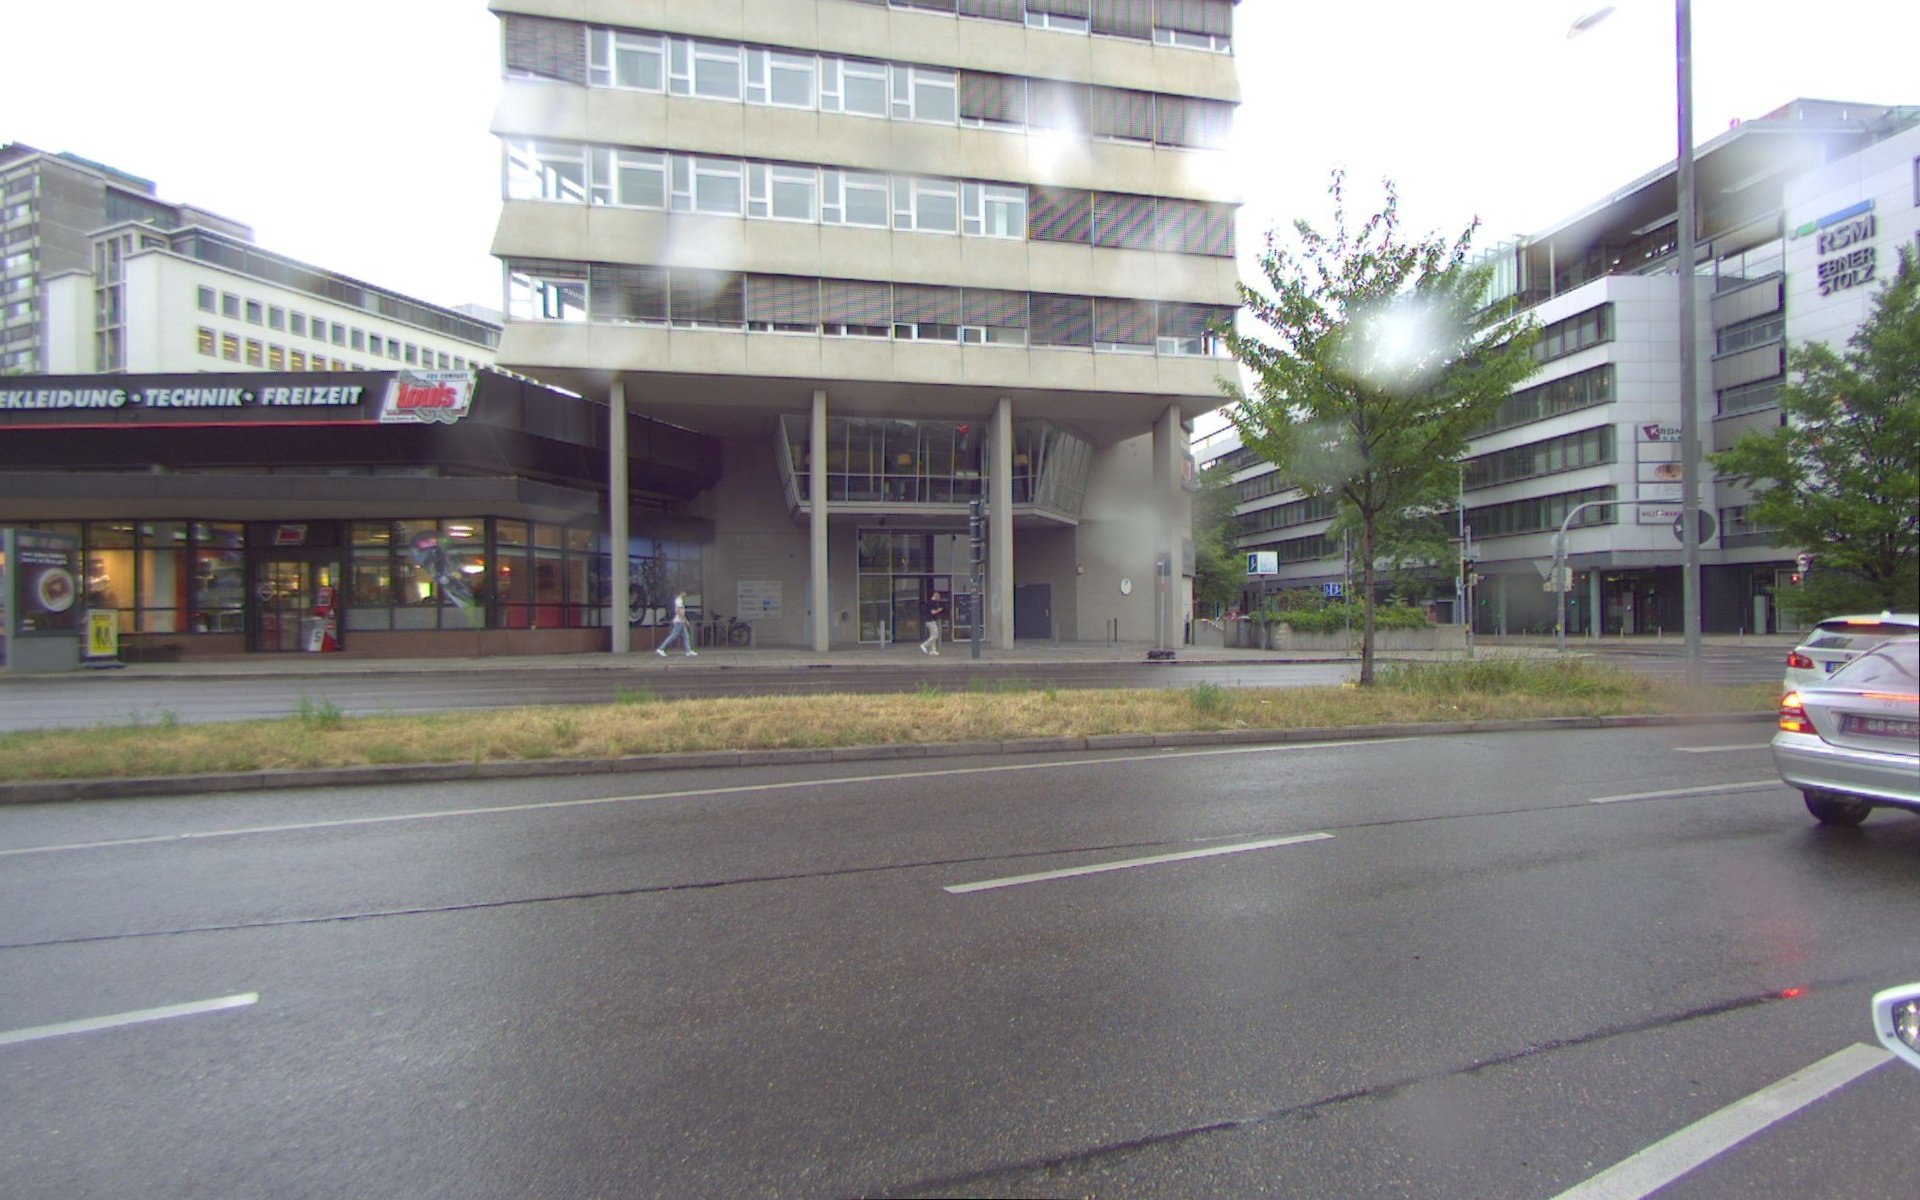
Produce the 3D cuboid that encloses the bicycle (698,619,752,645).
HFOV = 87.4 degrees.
[{"bbox_3d":[-7.923,1.086,33.874,1.743,0.823,0.454,1,0,-12],"label":"bicycle"}]

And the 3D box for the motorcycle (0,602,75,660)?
[{"bbox_3d":[-23.514,0.740,24.721,0.788,1.392,2.893,1,0,3],"label":"motorcycle"}]

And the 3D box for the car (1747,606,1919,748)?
[{"bbox_3d":[12.540,0.909,12.970,3.937,1.617,1.883,1,0,-18],"label":"car"}]

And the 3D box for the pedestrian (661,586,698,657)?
[{"bbox_3d":[-7.527,0.573,27.004,0.909,1.857,0.817,0,0,-14],"label":"pedestrian"}]

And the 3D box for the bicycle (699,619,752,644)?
[{"bbox_3d":[-8.037,1.087,34.454,1.743,0.823,0.454,1,0,-12],"label":"bicycle"}]

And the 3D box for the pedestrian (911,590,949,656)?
[{"bbox_3d":[-0.859,0.659,28.610,0.909,1.857,0.727,1,-1,-14],"label":"pedestrian"}]

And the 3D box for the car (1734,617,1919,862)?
[{"bbox_3d":[7.753,0.891,7.221,4.136,1.505,1.678,1,-1,-23],"label":"car"}]
